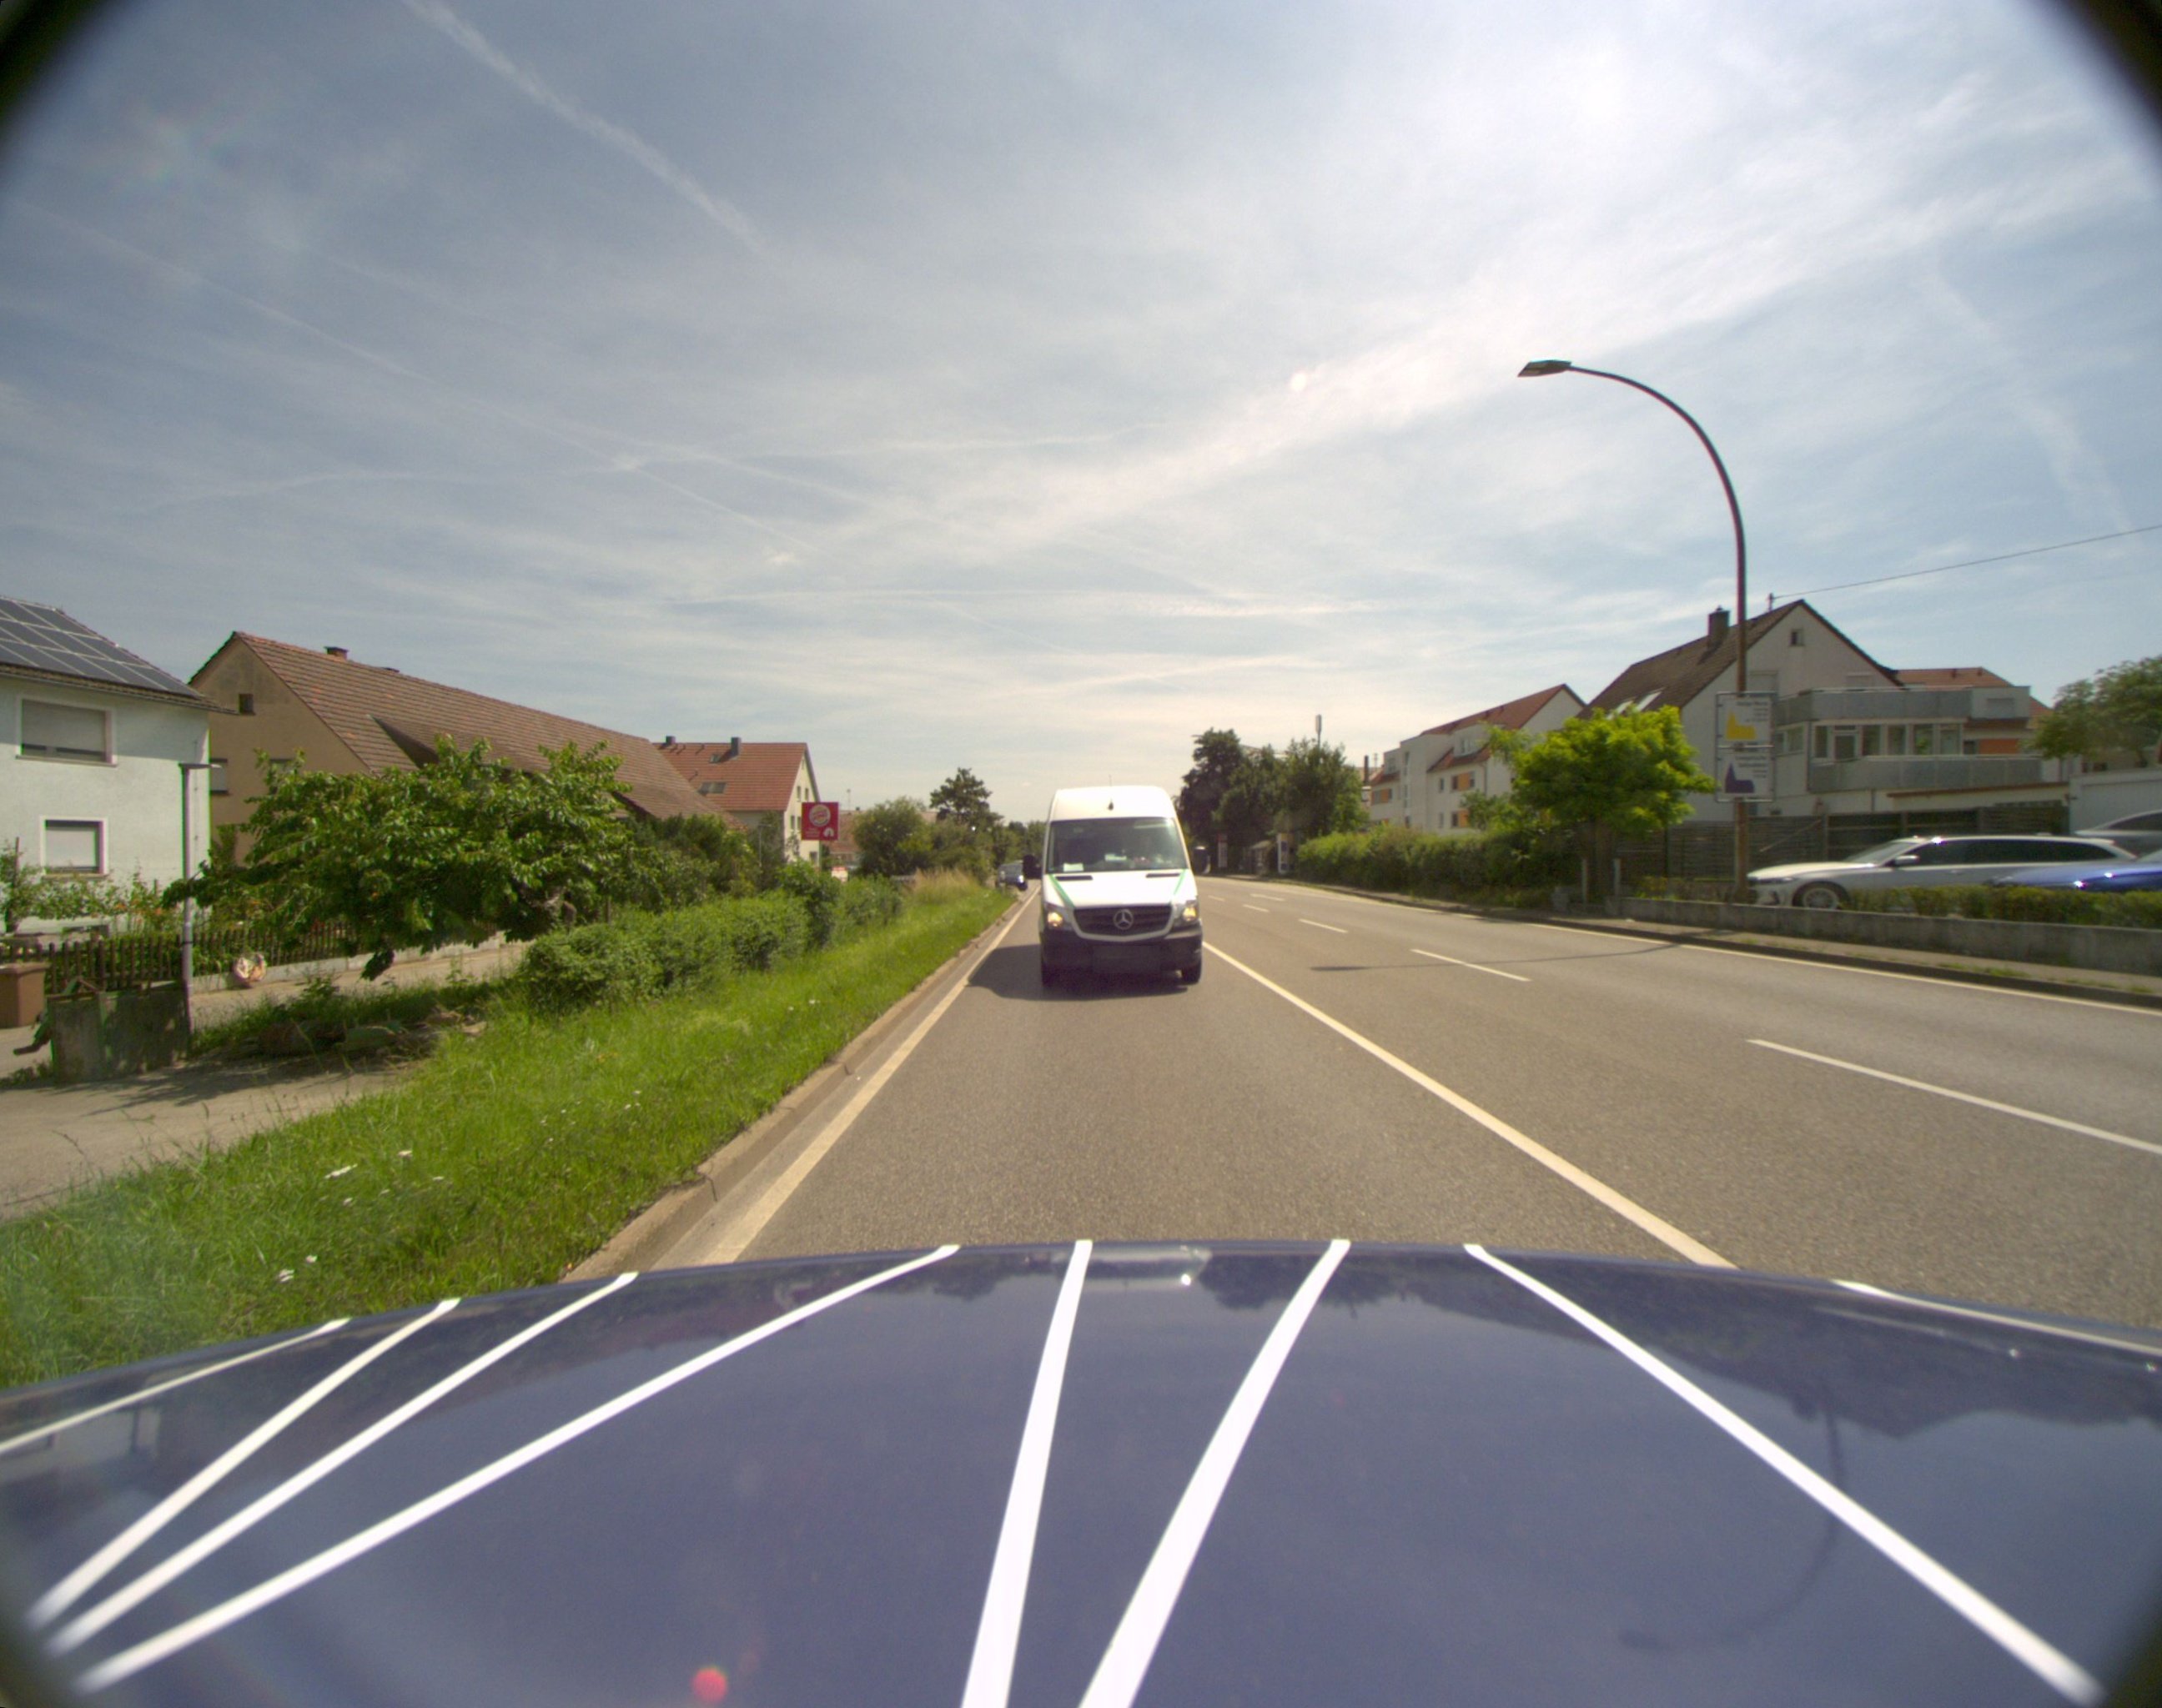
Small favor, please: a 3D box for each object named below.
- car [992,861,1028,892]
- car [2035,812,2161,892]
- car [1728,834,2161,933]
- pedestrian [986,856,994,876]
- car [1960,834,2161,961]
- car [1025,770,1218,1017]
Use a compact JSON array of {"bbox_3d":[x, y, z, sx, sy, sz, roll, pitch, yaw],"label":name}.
[{"bbox_3d":[-3.869,1.222,41.935,1.636,1.476,3.551,-4,0,-2],"label":"car"},{"bbox_3d":[20.483,-0.065,13.491,1.807,1.456,4.585,-2,0,9],"label":"car"},{"bbox_3d":[14.315,0.502,13.051,4.569,1.439,1.860,-3,1,29],"label":"car"},{"bbox_3d":[-7.272,0.977,60.600,0.522,1.540,0.562,-2,1,-19],"label":"pedestrian"},{"bbox_3d":[14.158,0.474,9.121,4.331,1.439,1.860,-2,1,29],"label":"car"},{"bbox_3d":[0.403,0.414,10.763,1.939,2.514,5.748,-2,0,0],"label":"car"}]
